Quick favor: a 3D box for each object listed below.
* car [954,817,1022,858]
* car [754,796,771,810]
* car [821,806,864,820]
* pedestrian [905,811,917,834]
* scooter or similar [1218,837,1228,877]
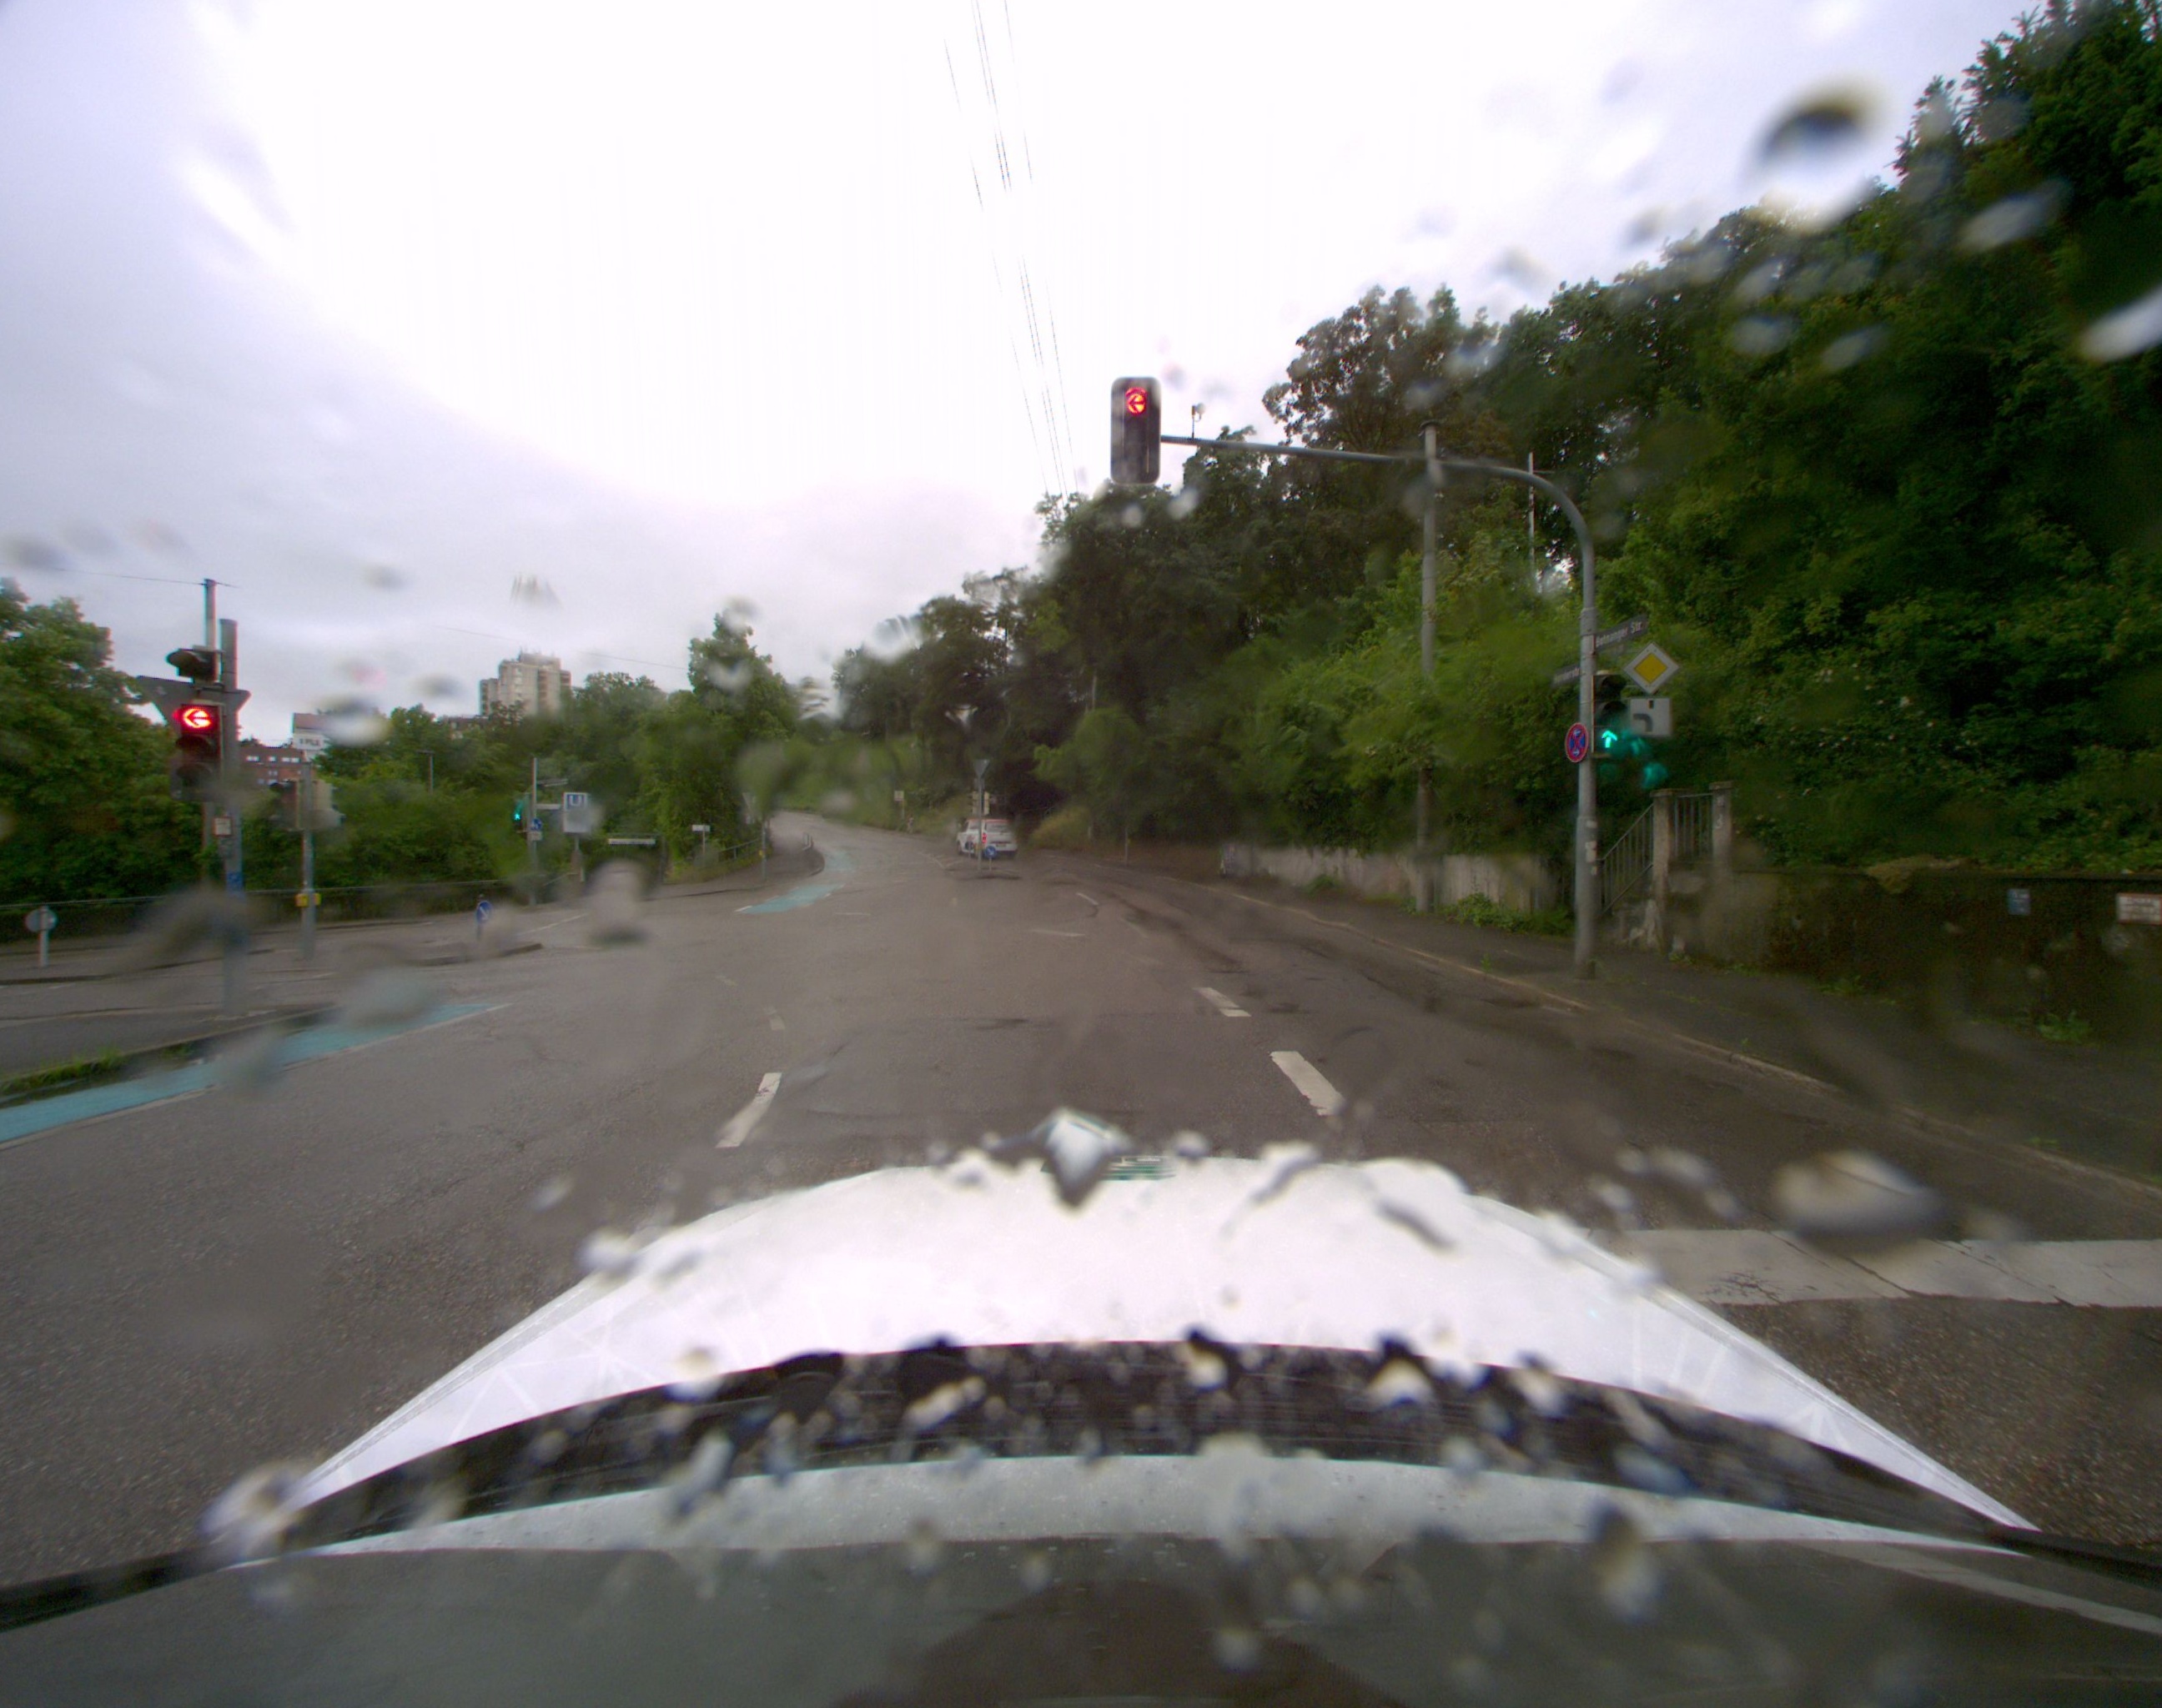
[{"bbox_3d":[-4.856,-0.841,41.774,2.076,2.006,4.776,-1,1,-25],"label":"car"},{"bbox_3d":[-47.174,-7.537,120.630,1.929,1.780,3.965,0,2,-28],"label":"car"},{"bbox_3d":[-27.733,-4.751,94.730,4.357,1.511,1.971,1,3,15],"label":"car"},{"bbox_3d":[-13.459,-2.510,64.468,0.882,1.736,0.861,0,-1,-15],"label":"pedestrian"},{"bbox_3d":[4.703,0.090,26.979,0.320,1.279,0.753,-1,2,9],"label":"scooter or similar"}]
